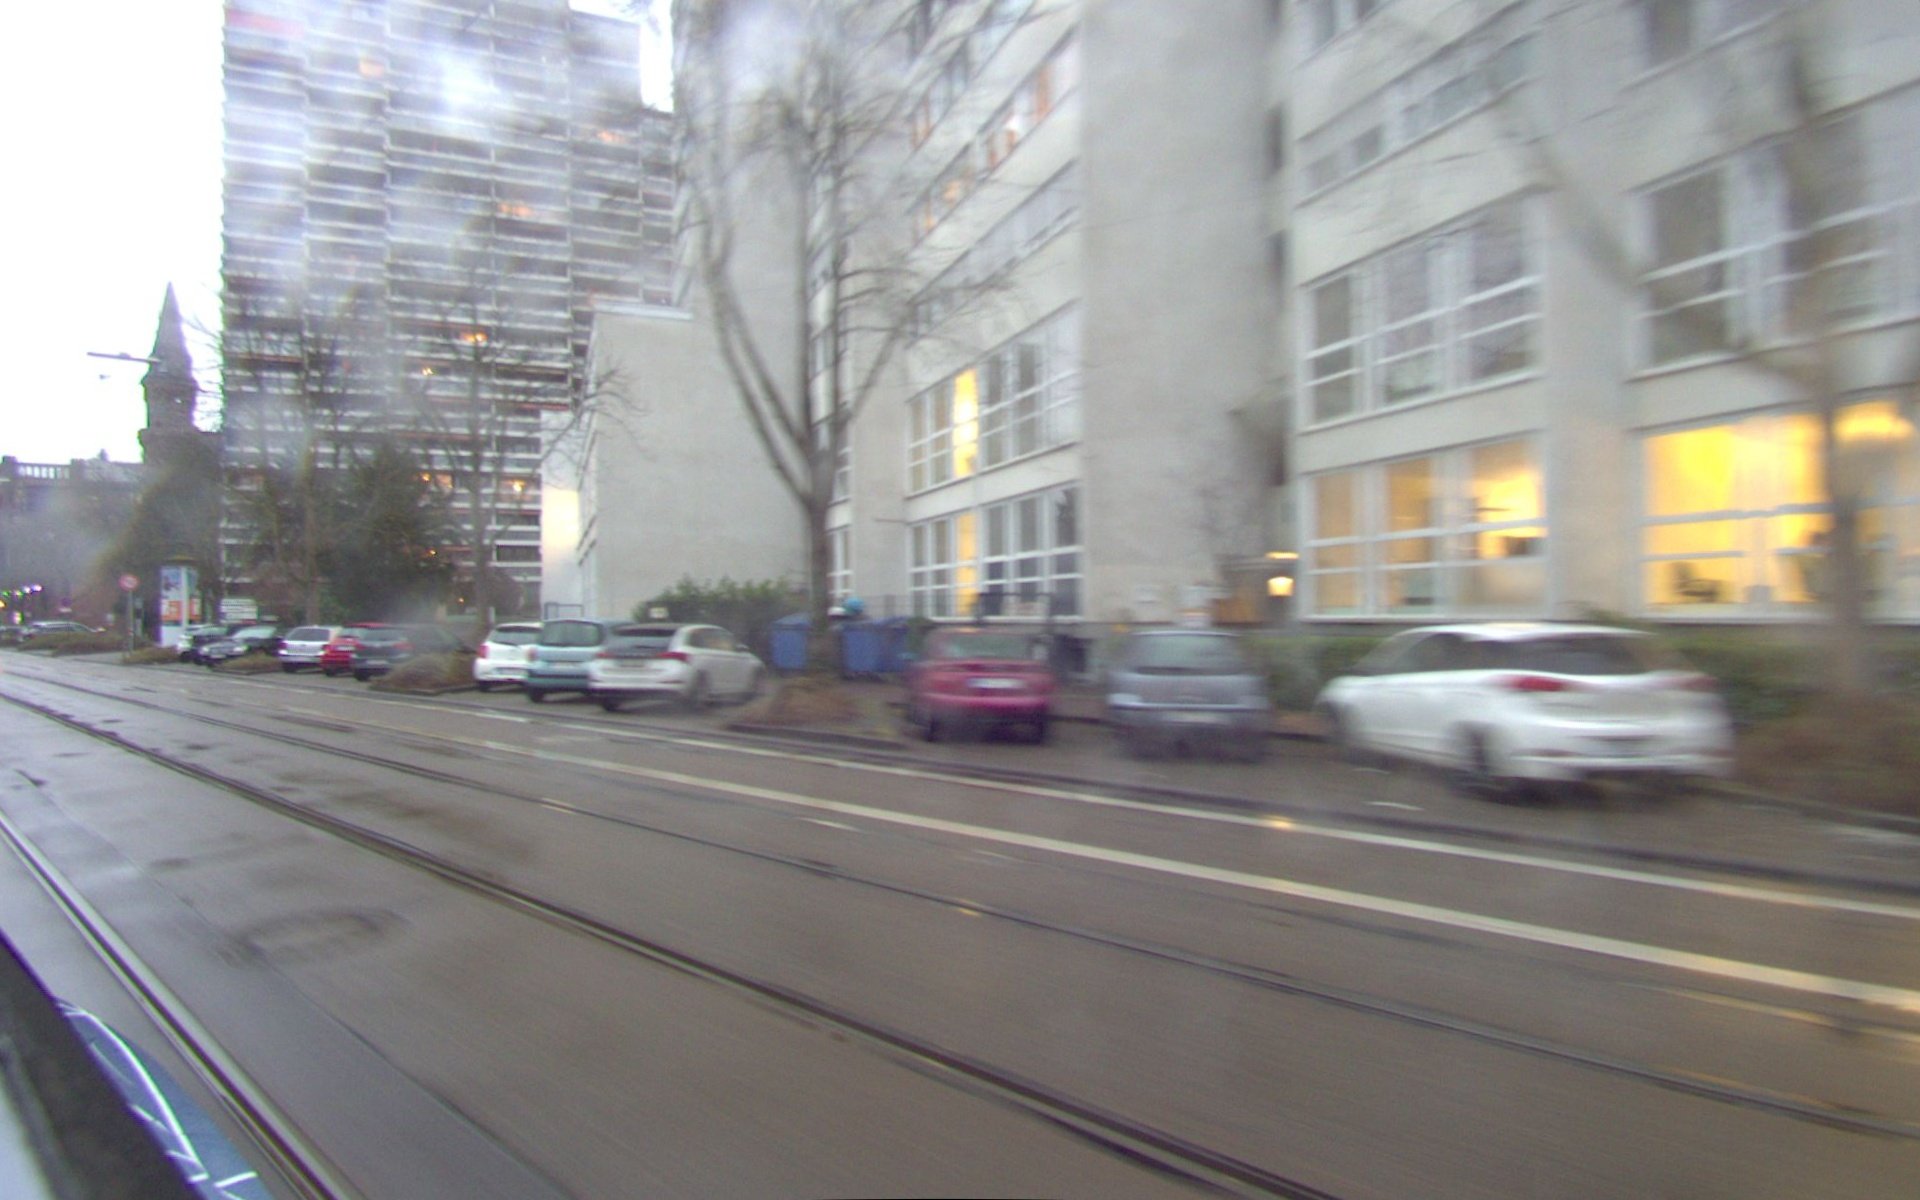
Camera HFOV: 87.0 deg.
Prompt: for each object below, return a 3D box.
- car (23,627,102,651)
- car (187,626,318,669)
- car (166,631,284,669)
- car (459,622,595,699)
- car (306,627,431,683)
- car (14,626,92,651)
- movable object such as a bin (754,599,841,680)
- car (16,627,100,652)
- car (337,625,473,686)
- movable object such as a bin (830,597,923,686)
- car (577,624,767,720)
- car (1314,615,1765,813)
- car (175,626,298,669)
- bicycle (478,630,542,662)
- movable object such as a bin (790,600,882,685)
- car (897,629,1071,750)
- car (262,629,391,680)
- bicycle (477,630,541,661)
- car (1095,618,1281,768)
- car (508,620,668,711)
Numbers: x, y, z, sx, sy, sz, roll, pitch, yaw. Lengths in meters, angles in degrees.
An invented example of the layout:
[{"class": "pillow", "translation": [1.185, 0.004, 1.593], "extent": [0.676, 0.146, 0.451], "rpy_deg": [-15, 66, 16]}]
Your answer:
[{"class": "car", "translation": [-60.091, 2.596, 67.787], "extent": [3.939, 1.497, 1.674], "rpy_deg": [1, -3, -43]}, {"class": "car", "translation": [-24.431, 1.620, 35.136], "extent": [1.829, 1.389, 4.000], "rpy_deg": [-1, -2, -1]}, {"class": "car", "translation": [-29.166, 1.963, 40.311], "extent": [1.829, 1.410, 4.000], "rpy_deg": [-1, -2, -1]}, {"class": "car", "translation": [-9.709, 1.330, 23.003], "extent": [1.668, 1.563, 3.879], "rpy_deg": [-1, -2, -4]}, {"class": "car", "translation": [-17.193, 1.568, 29.600], "extent": [1.705, 1.504, 3.451], "rpy_deg": [-1, -2, -1]}, {"class": "car", "translation": [-62.291, 2.641, 69.550], "extent": [3.939, 1.652, 2.002], "rpy_deg": [1, -3, -43]}, {"class": "movable object such as a bin", "translation": [-3.903, 0.955, 24.303], "extent": [1.317, 1.874, 1.553], "rpy_deg": [-4, -4, 42]}, {"class": "car", "translation": [-57.609, 2.522, 64.693], "extent": [3.939, 1.497, 1.674], "rpy_deg": [1, -3, -43]}, {"class": "car", "translation": [-14.724, 1.448, 27.100], "extent": [1.671, 1.504, 3.855], "rpy_deg": [-1, -2, -3]}, {"class": "movable object such as a bin", "translation": [-1.847, 0.925, 22.425], "extent": [1.317, 1.874, 1.553], "rpy_deg": [-4, -4, 42]}, {"class": "car", "translation": [-4.823, 1.172, 17.575], "extent": [1.716, 1.455, 3.990], "rpy_deg": [0, -2, 8]}, {"class": "car", "translation": [4.987, 0.907, 9.440], "extent": [1.710, 1.434, 3.856], "rpy_deg": [-1, -2, -5]}, {"class": "car", "translation": [-27.054, 1.758, 38.013], "extent": [1.829, 1.474, 4.000], "rpy_deg": [-1, -2, -1]}, {"class": "bicycle", "translation": [-16.624, 1.676, 37.399], "extent": [2.167, 1.129, 0.644], "rpy_deg": [0, -2, -26]}, {"class": "movable object such as a bin", "translation": [-2.862, 0.991, 23.364], "extent": [1.393, 1.874, 1.553], "rpy_deg": [-4, -4, 42]}, {"class": "car", "translation": [0.151, 1.094, 13.668], "extent": [1.722, 1.362, 4.354], "rpy_deg": [1, -2, -7]}, {"class": "car", "translation": [-19.489, 1.654, 31.345], "extent": [1.765, 1.457, 4.004], "rpy_deg": [-1, -2, -5]}, {"class": "bicycle", "translation": [-17.013, 1.704, 38.186], "extent": [2.167, 1.129, 0.644], "rpy_deg": [0, -2, -26]}, {"class": "car", "translation": [2.550, 0.994, 12.163], "extent": [1.715, 1.474, 3.992], "rpy_deg": [0, -2, 6]}, {"class": "car", "translation": [-7.113, 1.215, 19.766], "extent": [1.712, 1.575, 4.000], "rpy_deg": [-1, -2, -1]}]
